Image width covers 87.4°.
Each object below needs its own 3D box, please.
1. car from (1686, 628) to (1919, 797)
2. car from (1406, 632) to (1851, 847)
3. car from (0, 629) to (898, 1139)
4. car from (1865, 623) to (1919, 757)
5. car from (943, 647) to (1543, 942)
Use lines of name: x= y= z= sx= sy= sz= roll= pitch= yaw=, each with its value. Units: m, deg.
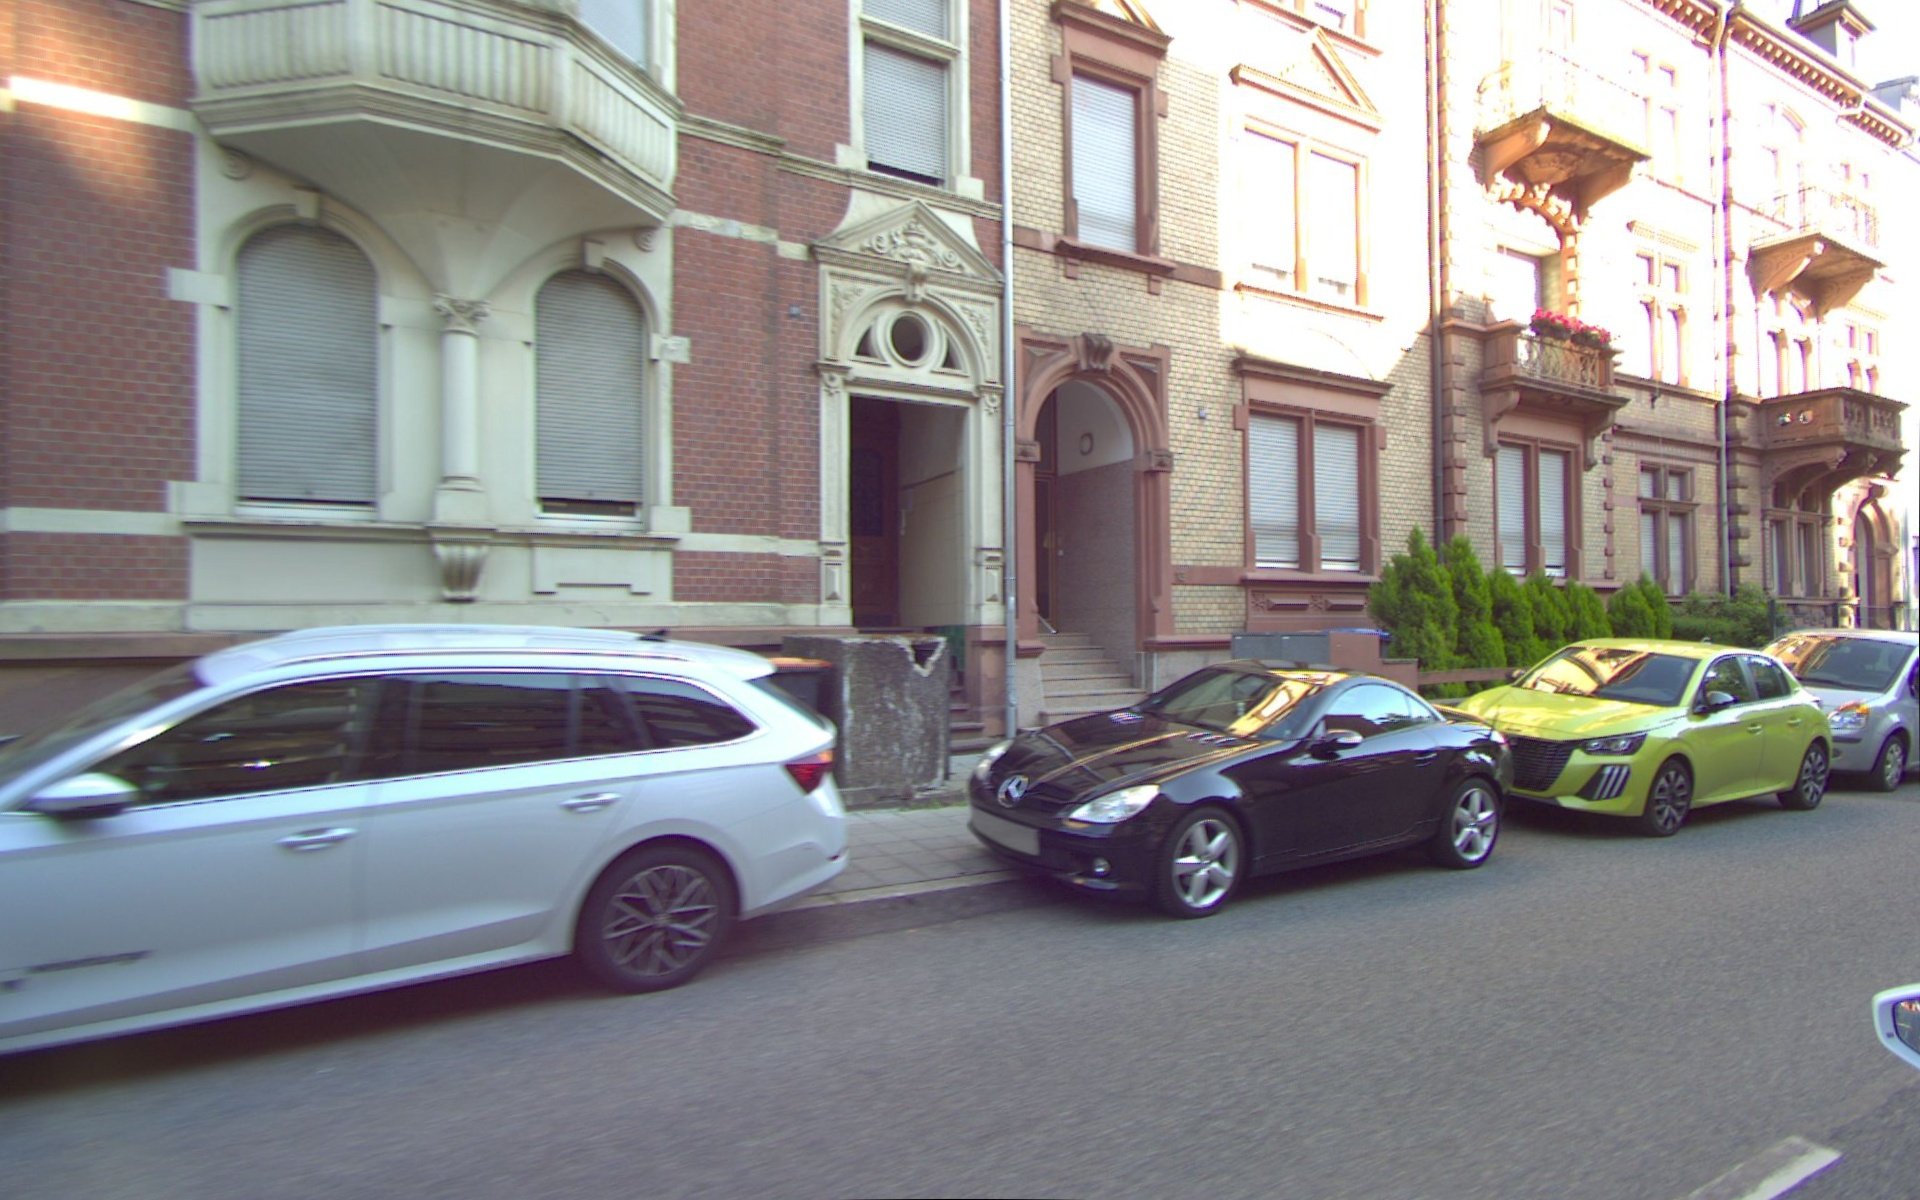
car: x=10.031 y=1.126 z=11.291 sx=3.591 sy=1.605 sz=1.695 roll=1 pitch=-1 yaw=-29
car: x=6.047 y=1.103 z=8.993 sx=4.024 sy=1.522 sz=1.695 roll=2 pitch=-2 yaw=-30
car: x=-2.641 y=0.922 z=4.360 sx=4.499 sy=1.557 sz=1.693 roll=1 pitch=-1 yaw=-33
car: x=14.483 y=1.194 z=13.846 sx=4.387 sy=1.730 sz=1.695 roll=1 pitch=-1 yaw=-30
car: x=1.953 y=1.054 z=6.727 sx=3.813 sy=1.385 sz=1.695 roll=1 pitch=-1 yaw=-29
